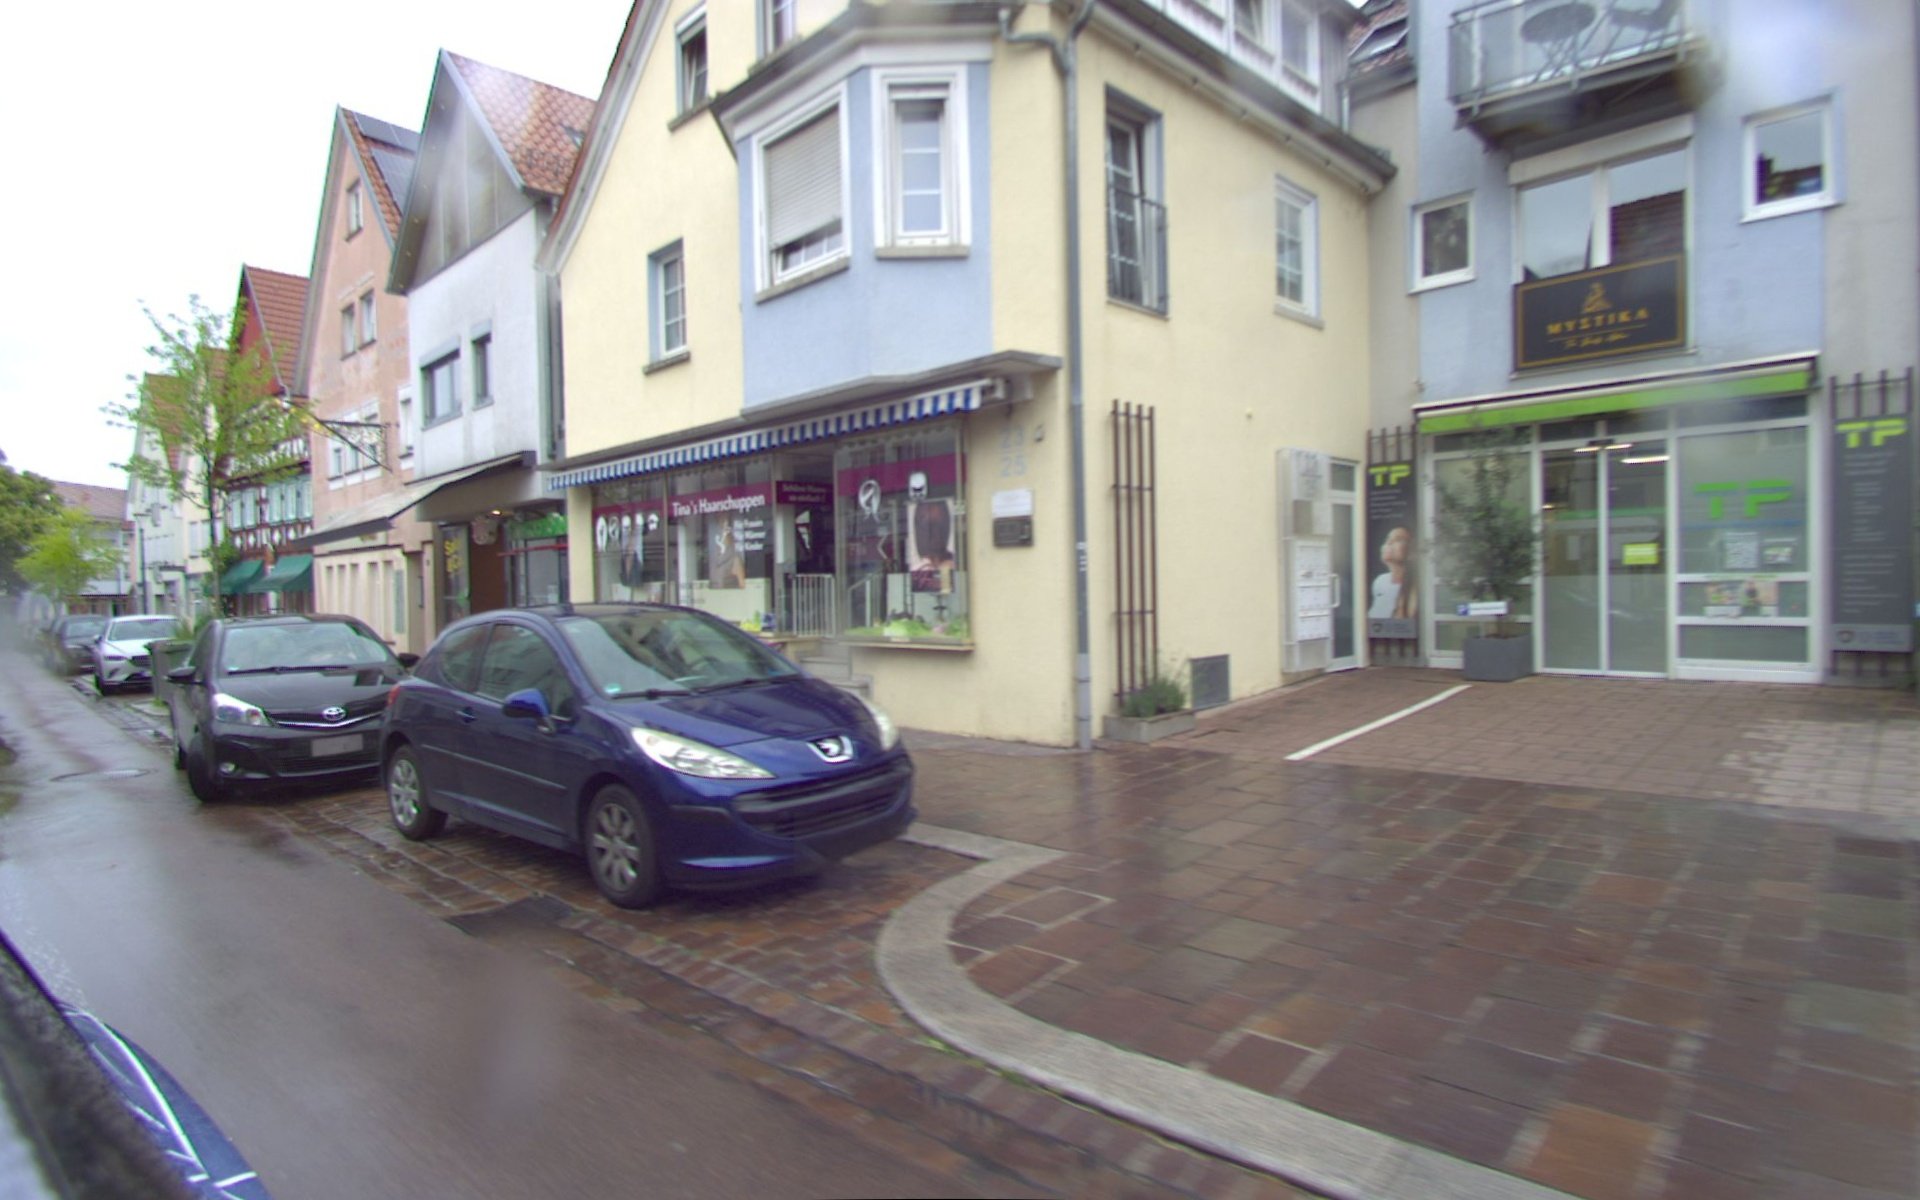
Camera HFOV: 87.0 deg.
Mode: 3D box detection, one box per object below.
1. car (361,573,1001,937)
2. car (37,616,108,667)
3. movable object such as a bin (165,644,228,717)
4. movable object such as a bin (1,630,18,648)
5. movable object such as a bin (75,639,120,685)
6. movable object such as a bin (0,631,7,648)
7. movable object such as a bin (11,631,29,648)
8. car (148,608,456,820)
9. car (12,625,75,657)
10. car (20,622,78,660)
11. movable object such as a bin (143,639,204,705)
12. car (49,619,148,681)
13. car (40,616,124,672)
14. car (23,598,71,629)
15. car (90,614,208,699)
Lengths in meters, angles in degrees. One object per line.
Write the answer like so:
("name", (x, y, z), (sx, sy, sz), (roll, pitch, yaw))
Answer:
("car", (-1.871, 0.700, 6.145), (3.939, 1.485, 1.739), (-3, 1, 39))
("car", (-34.179, 1.527, 38.946), (1.803, 1.678, 4.647), (-3, 2, -44))
("movable object such as a bin", (-12.124, 1.258, 16.067), (0.701, 1.060, 0.705), (-3, 1, -43))
("movable object such as a bin", (-64.157, 2.637, 68.313), (0.530, 1.151, 0.730), (0, -1, -14))
("movable object such as a bin", (-22.249, 1.584, 26.110), (0.676, 1.090, 0.761), (0, 2, 41))
("movable object such as a bin", (-64.788, 2.643, 68.164), (0.530, 1.139, 0.730), (0, -1, -14))
("movable object such as a bin", (-63.506, 2.648, 68.379), (0.715, 1.091, 0.607), (-2, 2, -20))
("car", (-6.179, 0.887, 9.311), (1.672, 1.454, 3.888), (-3, 0, -43))
("car", (-45.972, 2.031, 50.711), (4.618, 1.453, 1.842), (-2, 0, 42))
("car", (-42.099, 1.847, 46.779), (1.840, 1.536, 4.333), (-4, 2, -42))
("movable object such as a bin", (-13.992, 1.268, 18.005), (0.777, 1.093, 0.694), (-4, 0, -42))
("car", (-24.815, 1.411, 29.088), (4.292, 1.549, 1.760), (-3, 1, 45))
("car", (-29.726, 1.426, 34.212), (1.803, 1.678, 4.645), (-3, 2, -44))
("car", (-49.721, 0.753, 55.146), (1.840, 1.536, 4.333), (-4, 2, -42))
("car", (-17.310, 1.158, 21.531), (1.671, 1.549, 4.125), (-4, 1, -42))
